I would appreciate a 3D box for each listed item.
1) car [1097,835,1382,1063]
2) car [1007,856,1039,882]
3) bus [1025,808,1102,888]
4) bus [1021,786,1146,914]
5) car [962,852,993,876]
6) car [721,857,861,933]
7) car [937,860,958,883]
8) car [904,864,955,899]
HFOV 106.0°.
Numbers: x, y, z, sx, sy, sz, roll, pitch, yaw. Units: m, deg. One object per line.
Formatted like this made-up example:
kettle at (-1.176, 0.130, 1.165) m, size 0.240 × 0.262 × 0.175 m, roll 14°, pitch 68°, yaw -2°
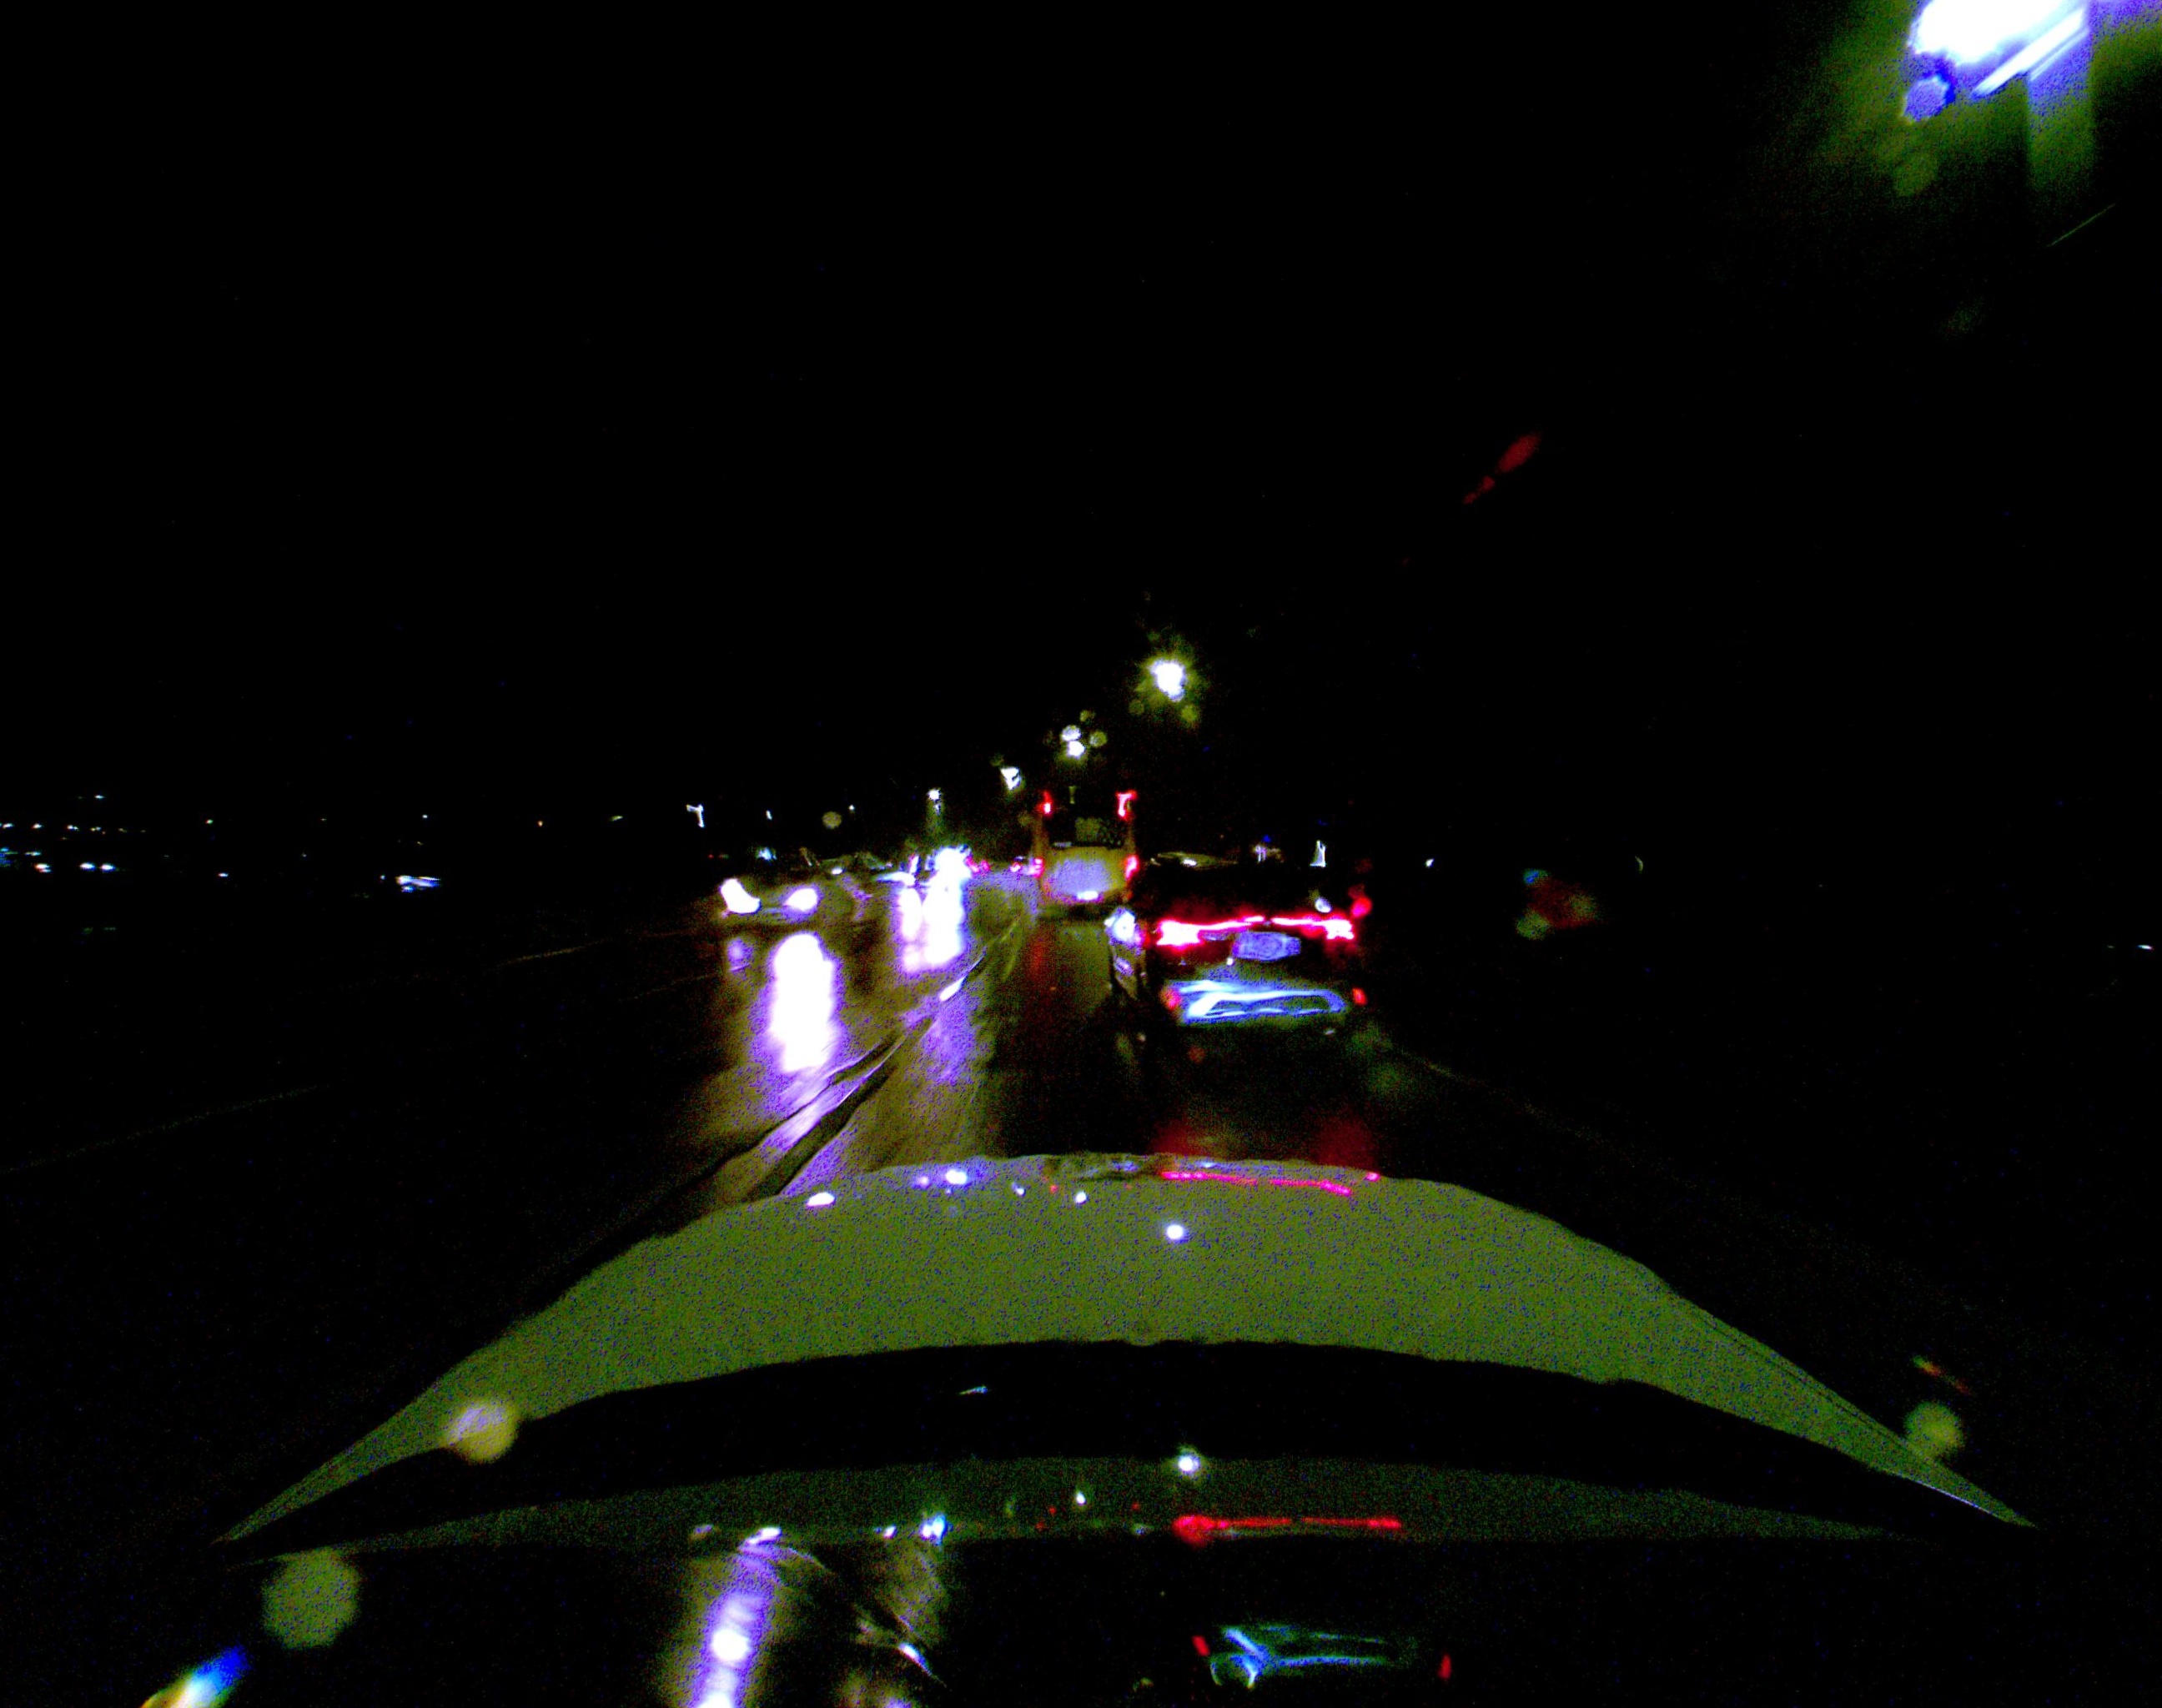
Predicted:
car at (1.176, 0.691, 7.814) m, size 1.850 × 1.586 × 3.997 m, roll -1°, pitch -1°, yaw -1°
car at (-3.982, 0.971, 55.136) m, size 1.638 × 1.655 × 3.694 m, roll -1°, pitch 1°, yaw -13°
bus at (-0.964, -0.432, 36.629) m, size 3.043 × 3.131 × 8.069 m, roll -2°, pitch 3°, yaw -4°
bus at (-0.344, -0.142, 26.397) m, size 3.077 × 3.132 × 12.679 m, roll 0°, pitch 0°, yaw -4°
car at (-9.094, 0.868, 71.451) m, size 1.999 × 2.013 × 3.976 m, roll 0°, pitch 0°, yaw -18°
car at (-6.436, 0.842, 18.534) m, size 1.761 × 1.517 × 3.948 m, roll 0°, pitch 0°, yaw 0°
car at (-9.745, 1.267, 59.388) m, size 1.471 × 1.584 × 3.180 m, roll 0°, pitch 1°, yaw -10°
car at (-6.839, 1.198, 37.114) m, size 1.763 × 1.427 × 4.212 m, roll -1°, pitch 0°, yaw -4°
